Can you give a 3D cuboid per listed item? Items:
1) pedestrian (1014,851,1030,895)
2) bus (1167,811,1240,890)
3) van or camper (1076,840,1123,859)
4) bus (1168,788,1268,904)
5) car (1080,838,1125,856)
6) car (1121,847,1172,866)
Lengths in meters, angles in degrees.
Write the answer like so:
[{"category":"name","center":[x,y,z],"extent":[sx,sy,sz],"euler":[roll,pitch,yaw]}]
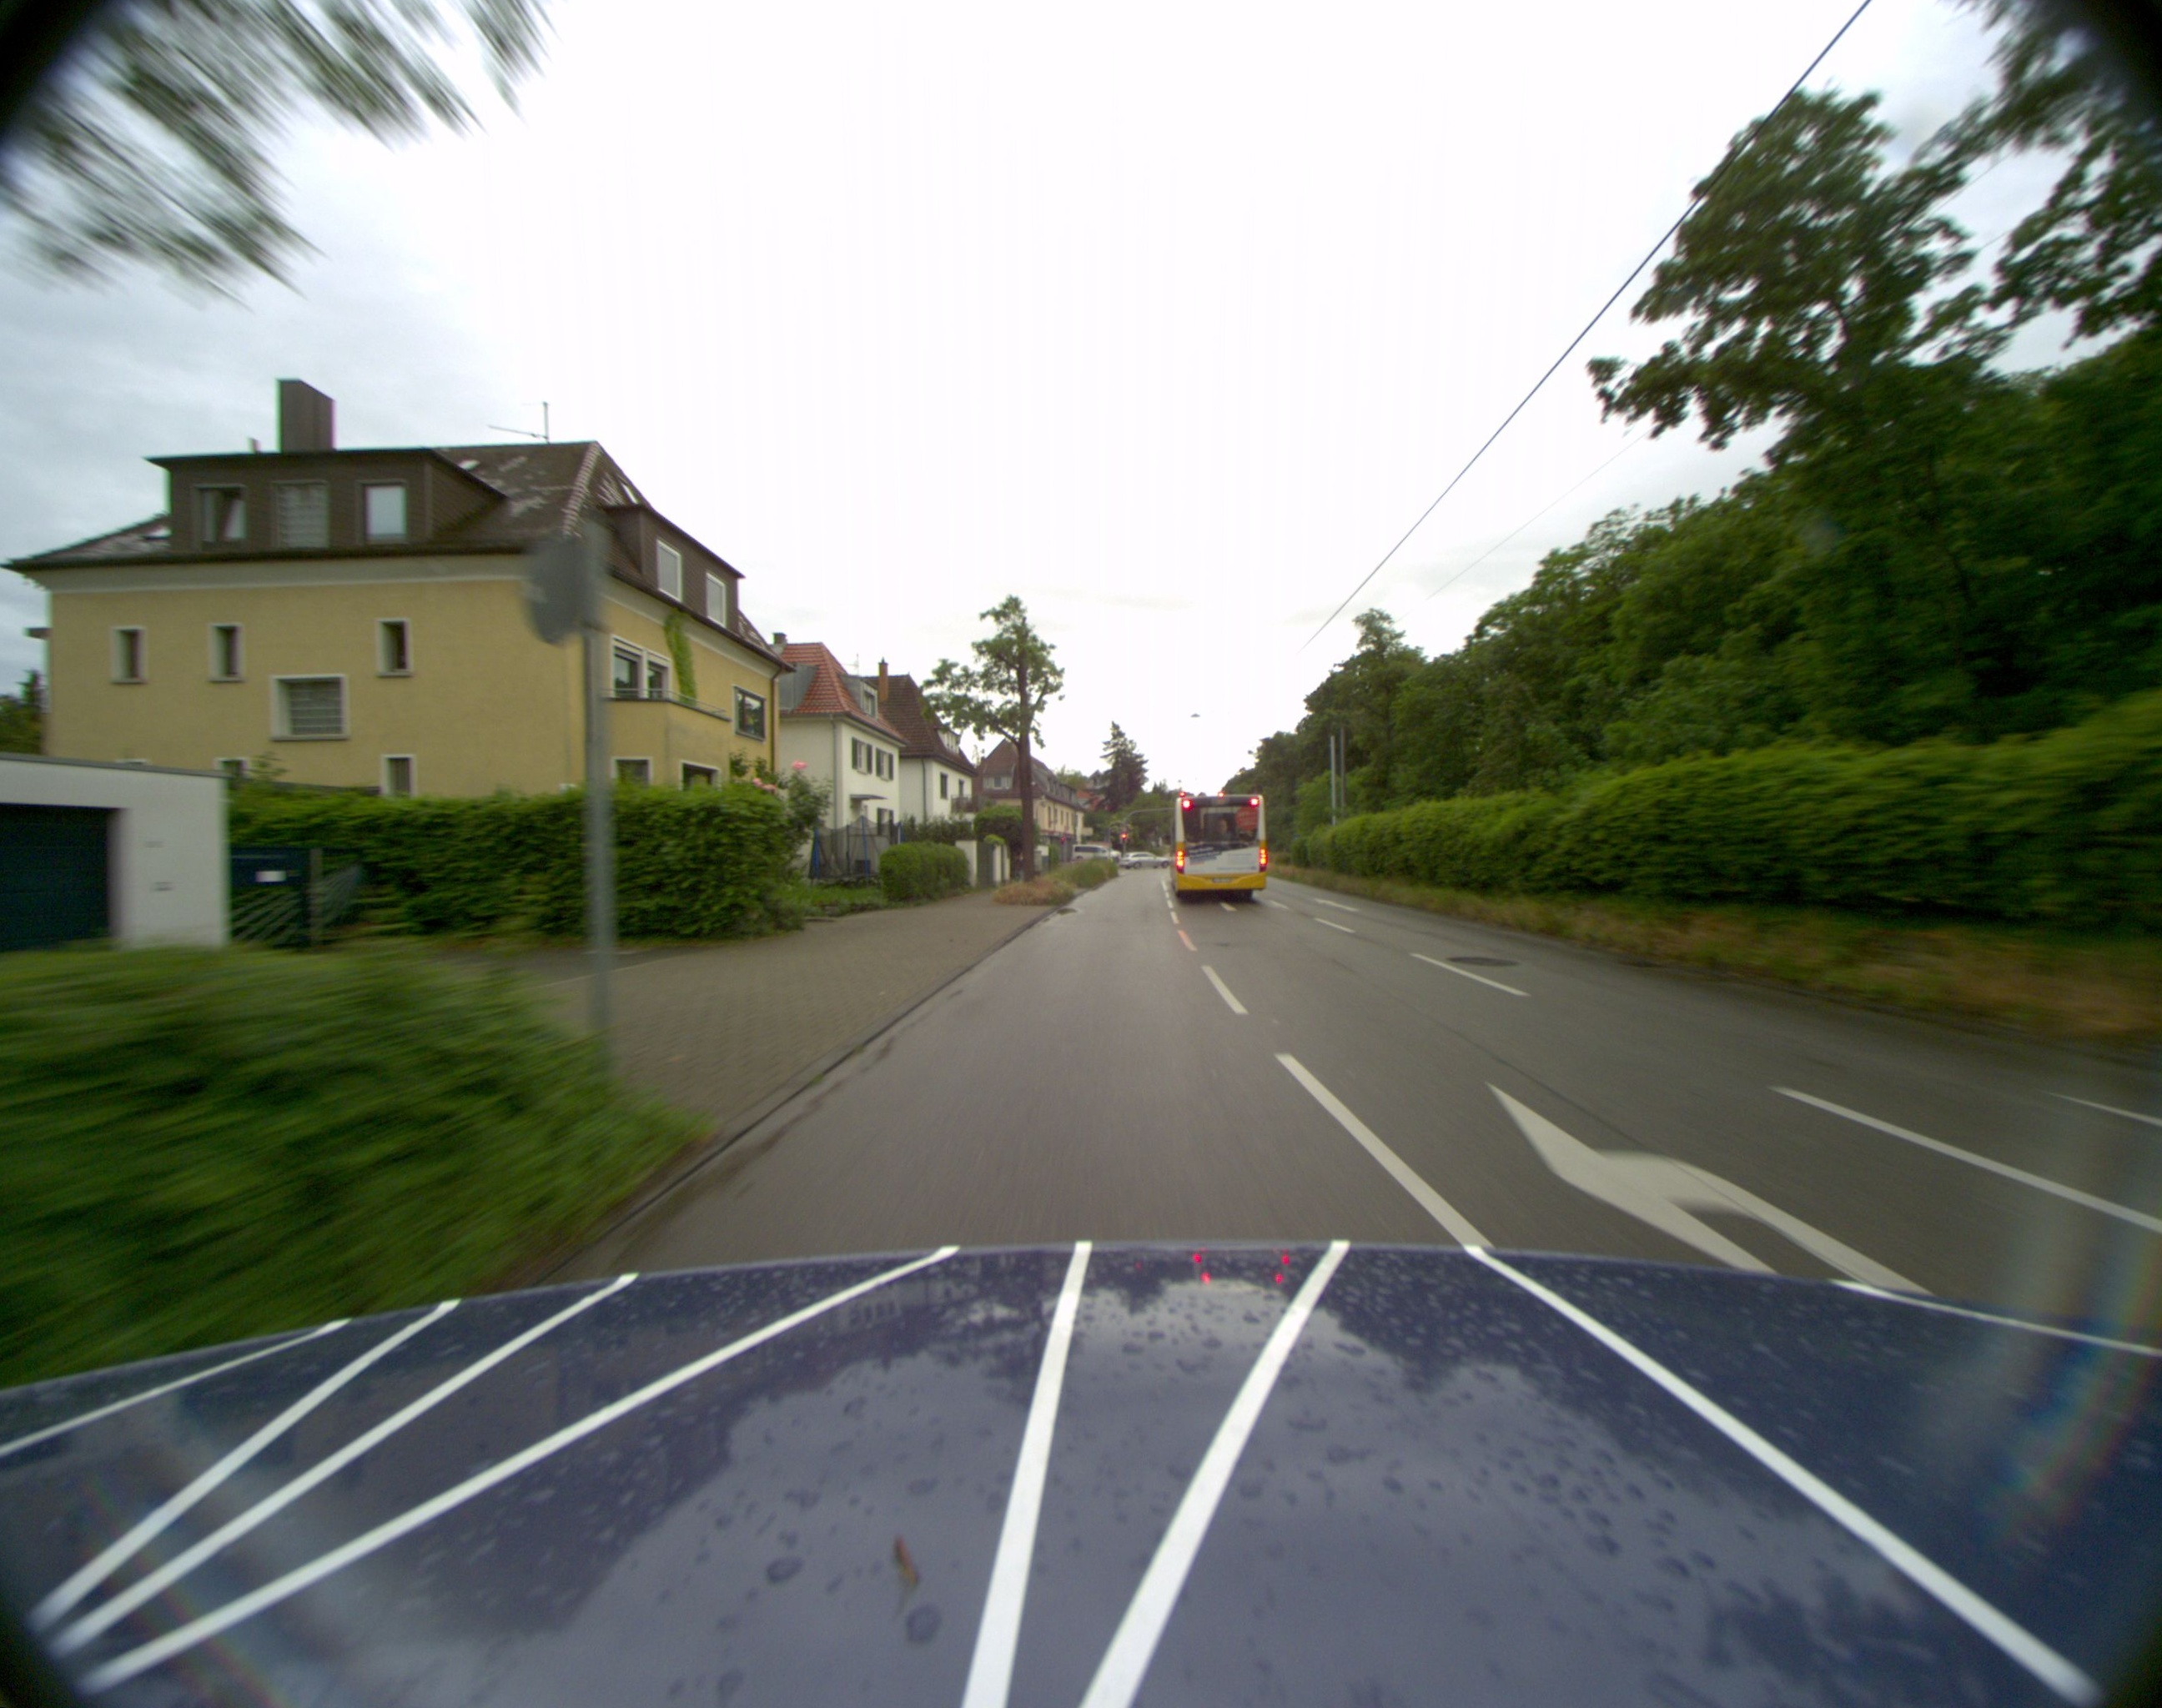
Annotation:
[{"category":"pedestrian","center":[-2.110,0.679,27.226],"extent":[0.483,1.525,0.439],"euler":[-2,1,3]},{"category":"bus","center":[5.331,-0.191,34.407],"extent":[2.649,3.027,9.233],"euler":[-2,1,6]},{"category":"van or camper","center":[2.146,-0.528,89.019],"extent":[5.173,2.002,2.001],"euler":[-1,2,11]},{"category":"bus","center":[4.321,-0.267,25.512],"extent":[2.600,3.140,8.638],"euler":[-2,1,6]},{"category":"car","center":[2.624,-0.853,92.013],"extent":[5.173,2.002,2.001],"euler":[-1,2,11]},{"category":"car","center":[5.814,0.218,67.597],"extent":[4.004,1.521,1.996],"euler":[-1,1,-23]}]
